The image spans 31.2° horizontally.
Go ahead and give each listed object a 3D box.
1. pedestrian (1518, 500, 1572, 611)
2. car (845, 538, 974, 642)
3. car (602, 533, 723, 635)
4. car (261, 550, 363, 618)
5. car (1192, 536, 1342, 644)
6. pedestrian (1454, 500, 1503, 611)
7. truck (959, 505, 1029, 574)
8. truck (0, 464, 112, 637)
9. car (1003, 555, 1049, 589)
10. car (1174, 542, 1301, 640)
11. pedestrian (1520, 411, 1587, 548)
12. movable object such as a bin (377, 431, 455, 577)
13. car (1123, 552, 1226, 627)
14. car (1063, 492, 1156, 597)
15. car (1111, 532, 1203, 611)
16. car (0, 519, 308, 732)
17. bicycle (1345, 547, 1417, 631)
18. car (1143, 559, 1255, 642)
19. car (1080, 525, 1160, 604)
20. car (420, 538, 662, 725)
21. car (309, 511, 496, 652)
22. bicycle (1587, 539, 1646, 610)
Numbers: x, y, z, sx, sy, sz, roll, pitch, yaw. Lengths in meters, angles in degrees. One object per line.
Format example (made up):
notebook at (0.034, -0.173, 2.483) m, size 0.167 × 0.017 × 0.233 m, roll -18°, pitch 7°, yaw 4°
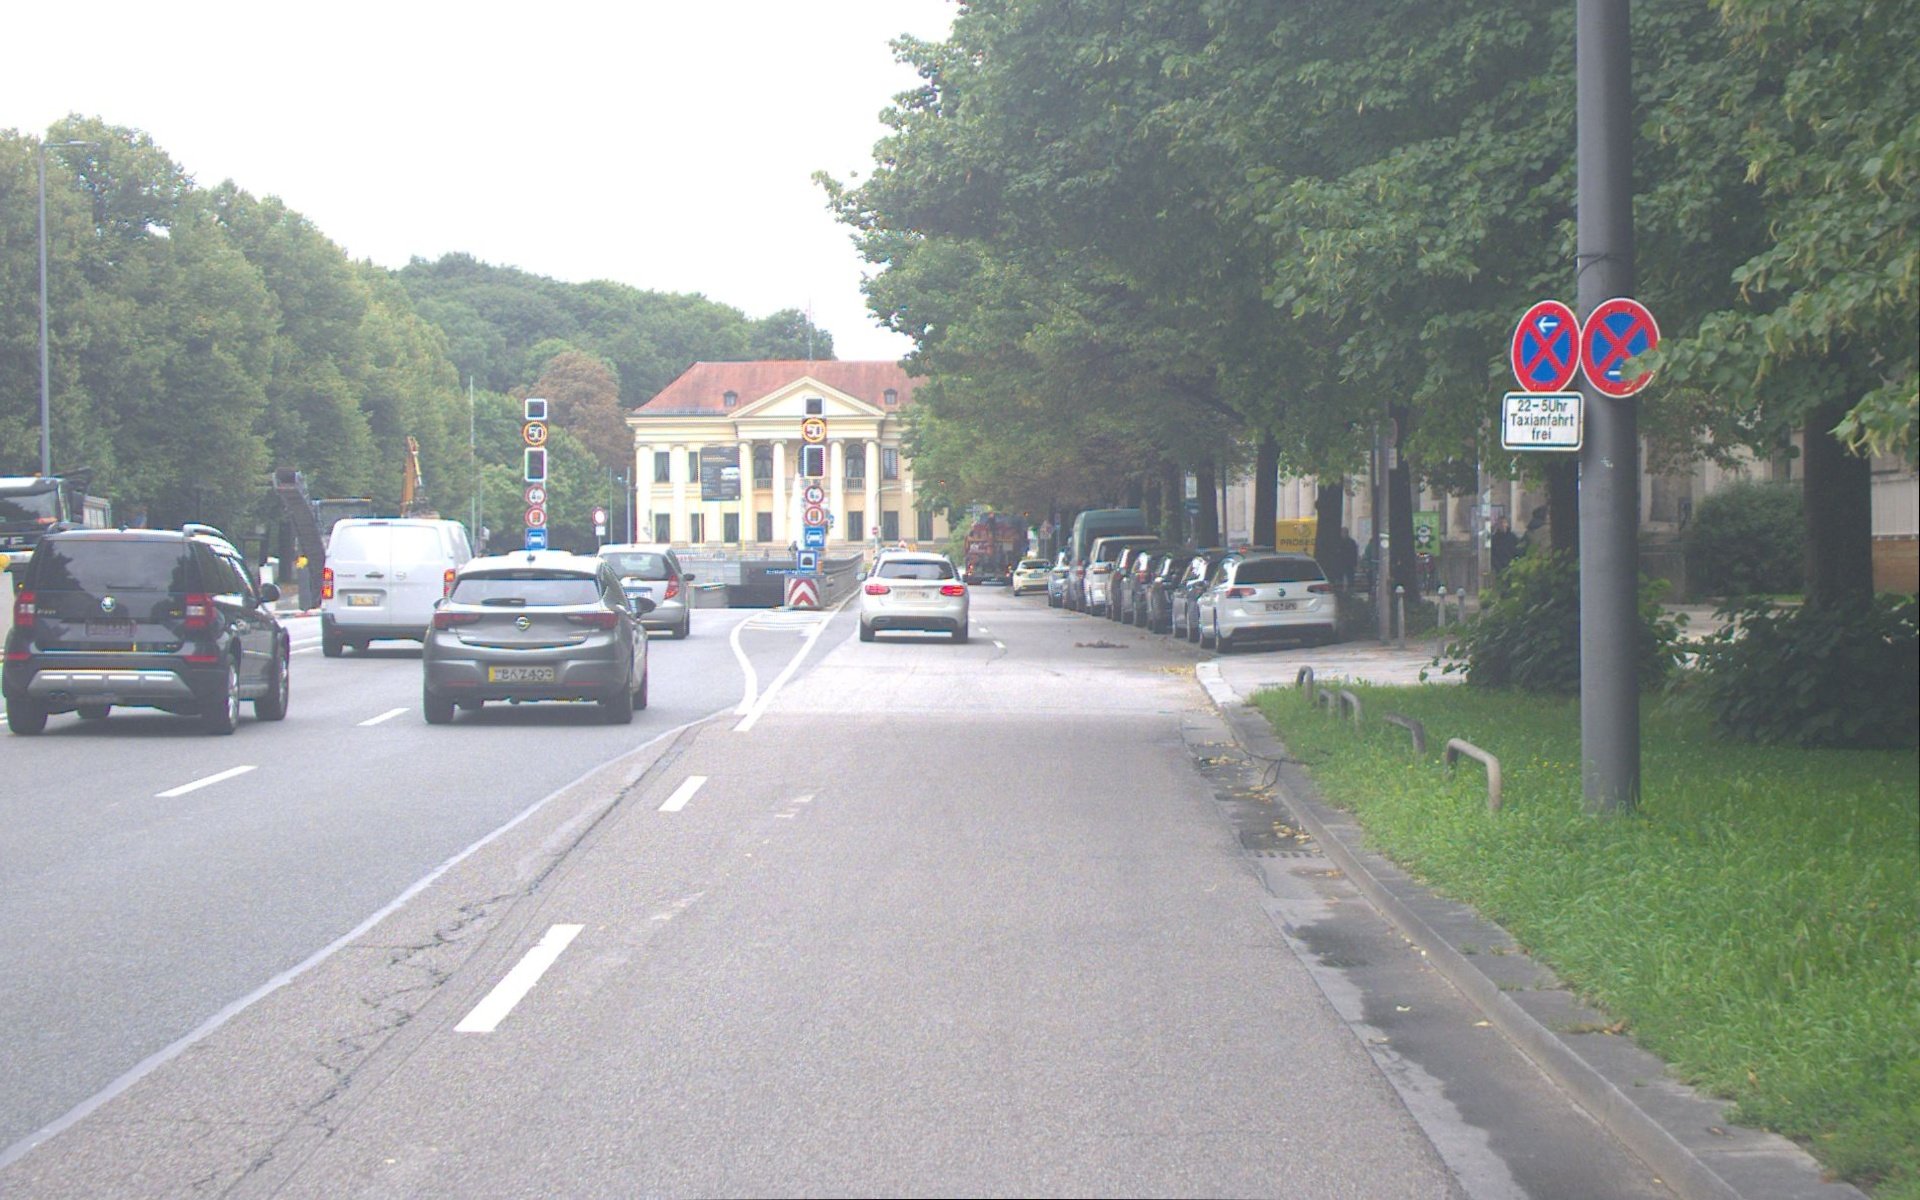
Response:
pedestrian at (10.078, -0.766, 59.237) m, size 0.764 × 1.903 × 0.771 m, roll 1°, pitch 1°, yaw 0°
car at (-0.878, -0.193, 57.170) m, size 1.779 × 1.639 × 4.001 m, roll 1°, pitch 1°, yaw -6°
car at (-5.014, -0.291, 58.279) m, size 1.779 × 1.648 × 4.000 m, roll 1°, pitch 1°, yaw -1°
car at (-15.911, -0.414, 84.546) m, size 1.993 × 1.590 × 4.001 m, roll -1°, pitch 1°, yaw -4°
car at (4.609, -0.178, 52.213) m, size 1.827 × 1.544 × 4.752 m, roll -1°, pitch 1°, yaw 0°
pedestrian at (8.936, -0.769, 59.265) m, size 0.699 × 1.903 × 0.771 m, roll 1°, pitch 1°, yaw 0°
truck at (1.675, -3.032, 174.118) m, size 3.325 × 3.355 × 8.663 m, roll 1°, pitch 1°, yaw -1°
truck at (-19.370, -1.043, 71.017) m, size 2.840 × 3.345 × 8.767 m, roll 1°, pitch 1°, yaw -9°
car at (2.606, -1.139, 137.104) m, size 1.724 × 1.319 × 4.028 m, roll -1°, pitch 1°, yaw 0°
car at (4.596, -0.172, 57.488) m, size 1.724 × 1.544 × 4.585 m, roll -1°, pitch 1°, yaw 0°
pedestrian at (8.367, -1.690, 48.513) m, size 0.779 × 1.903 × 0.771 m, roll 1°, pitch 1°, yaw 0°
movable object such as a bin at (-24.733, -4.331, 156.561) m, size 2.699 × 6.488 × 5.176 m, roll 1°, pitch 1°, yaw -1°
car at (4.326, -0.230, 69.817) m, size 1.822 × 1.459 × 4.028 m, roll -1°, pitch 1°, yaw 0°
car at (3.904, -1.453, 90.340) m, size 1.993 × 2.634 × 4.878 m, roll 1°, pitch 1°, yaw -2°
car at (4.305, -0.642, 75.805) m, size 1.724 × 1.659 × 4.590 m, roll -1°, pitch 1°, yaw 0°
car at (-6.654, 0.181, 28.676) m, size 1.722 × 1.631 × 4.205 m, roll -1°, pitch 1°, yaw -1°
bicycle at (6.315, -0.178, 51.675) m, size 0.628 × 1.227 × 2.619 m, roll 1°, pitch 1°, yaw -3°
car at (4.420, -0.014, 64.087) m, size 1.724 × 1.459 × 4.776 m, roll -1°, pitch 1°, yaw 0°
car at (3.859, -0.865, 83.365) m, size 1.724 × 1.861 × 4.028 m, roll -1°, pitch 1°, yaw 0°
car at (-3.694, 0.235, 30.883) m, size 1.710 × 1.546 × 4.000 m, roll 1°, pitch 1°, yaw -1°
car at (-7.694, -0.264, 47.856) m, size 1.898 × 1.841 × 4.956 m, roll -1°, pitch 1°, yaw -1°
bicycle at (13.244, -0.519, 69.383) m, size 0.699 × 1.410 × 2.299 m, roll -1°, pitch 1°, yaw -1°
